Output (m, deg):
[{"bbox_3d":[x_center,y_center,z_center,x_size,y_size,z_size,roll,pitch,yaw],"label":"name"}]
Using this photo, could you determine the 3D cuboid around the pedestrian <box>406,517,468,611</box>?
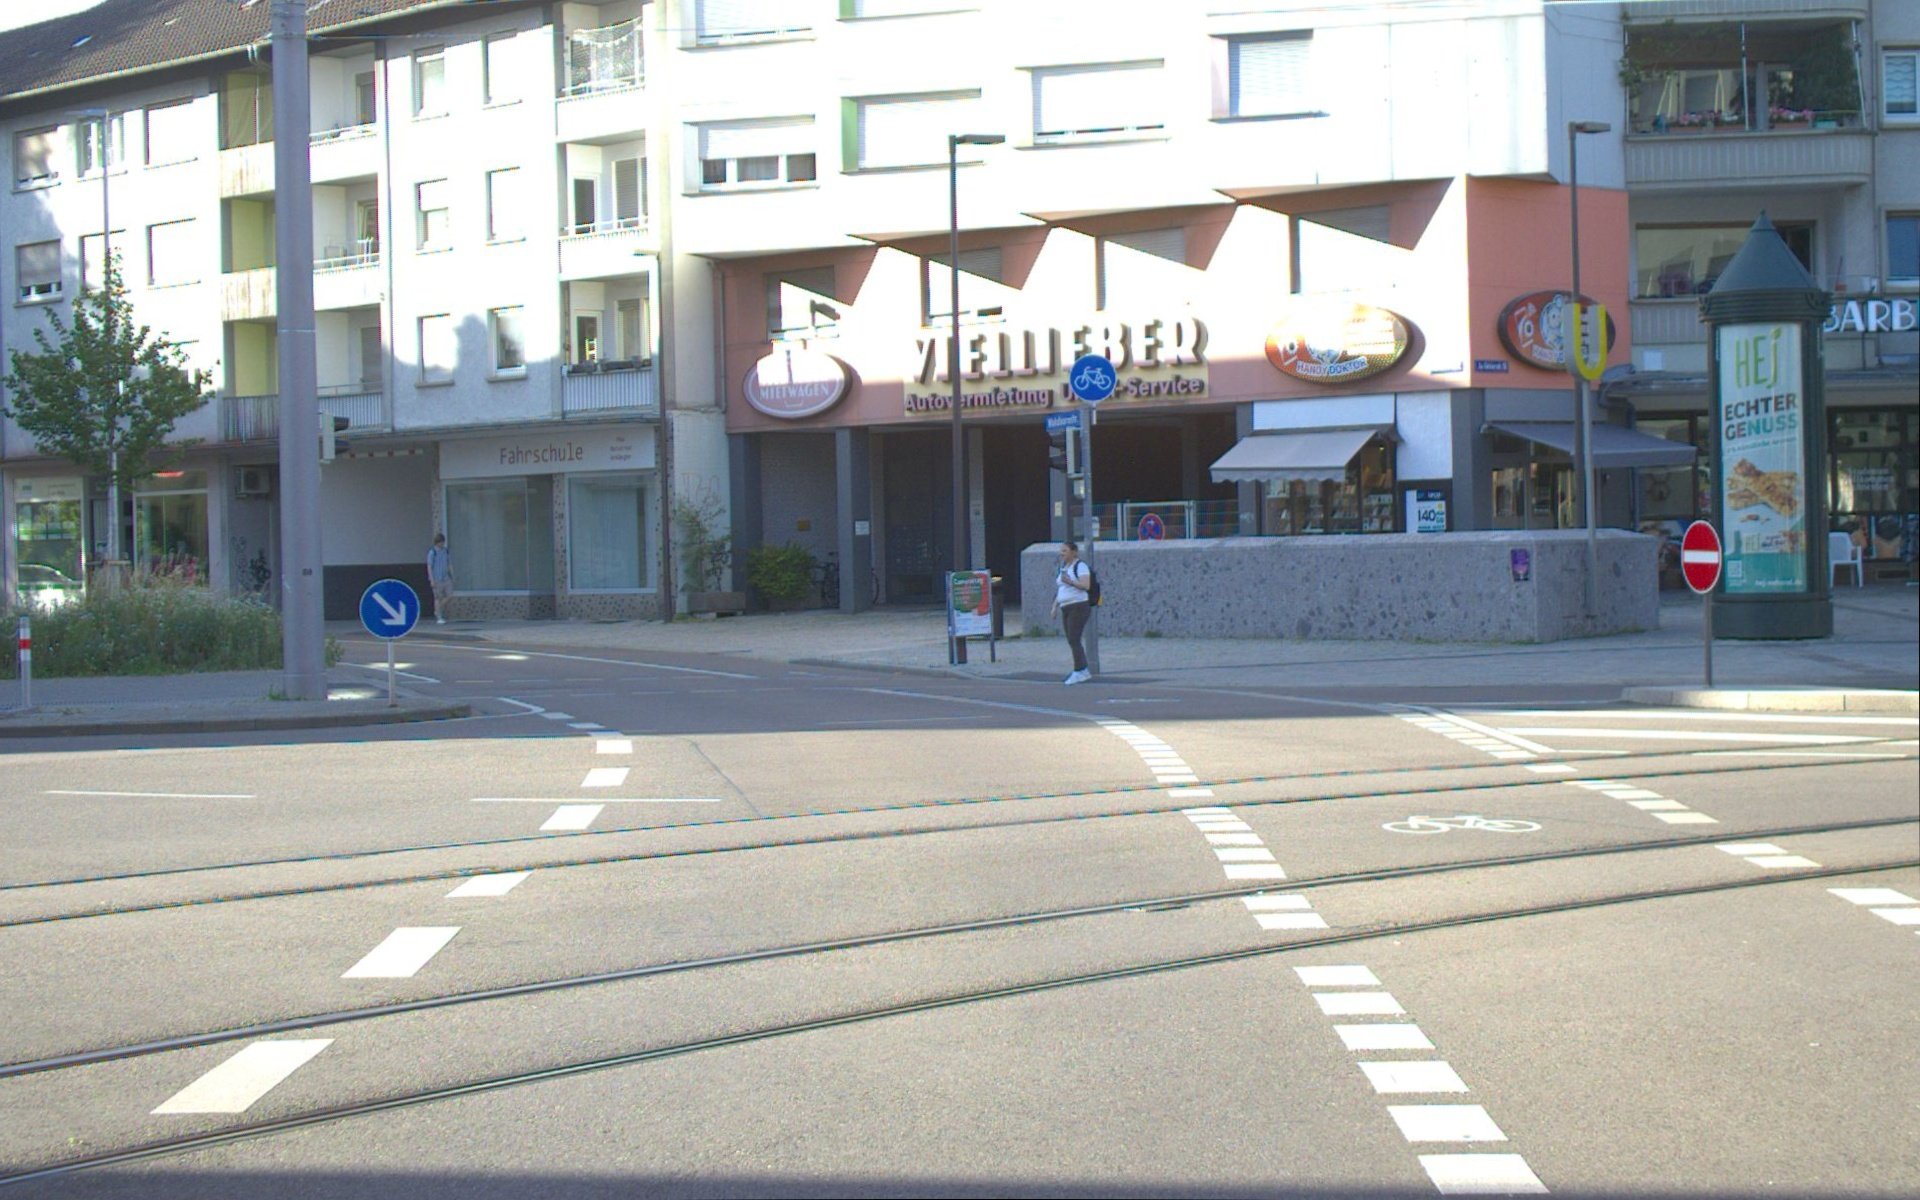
[{"bbox_3d":[-10.677,-0.732,70.185,0.732,1.848,0.947,-5,3,-45],"label":"pedestrian"}]

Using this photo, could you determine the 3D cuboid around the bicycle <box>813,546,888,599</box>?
[{"bbox_3d":[-2.181,-0.537,68.365,0.495,1.035,1.637,-2,1,-44],"label":"bicycle"}]

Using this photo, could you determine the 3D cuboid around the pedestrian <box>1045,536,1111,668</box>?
[{"bbox_3d":[1.430,0.021,41.765,0.539,1.578,0.557,-2,1,-42],"label":"pedestrian"}]

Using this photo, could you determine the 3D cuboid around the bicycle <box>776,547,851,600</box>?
[{"bbox_3d":[-2.895,-0.516,67.840,0.495,1.035,1.637,-2,1,-44],"label":"bicycle"}]
